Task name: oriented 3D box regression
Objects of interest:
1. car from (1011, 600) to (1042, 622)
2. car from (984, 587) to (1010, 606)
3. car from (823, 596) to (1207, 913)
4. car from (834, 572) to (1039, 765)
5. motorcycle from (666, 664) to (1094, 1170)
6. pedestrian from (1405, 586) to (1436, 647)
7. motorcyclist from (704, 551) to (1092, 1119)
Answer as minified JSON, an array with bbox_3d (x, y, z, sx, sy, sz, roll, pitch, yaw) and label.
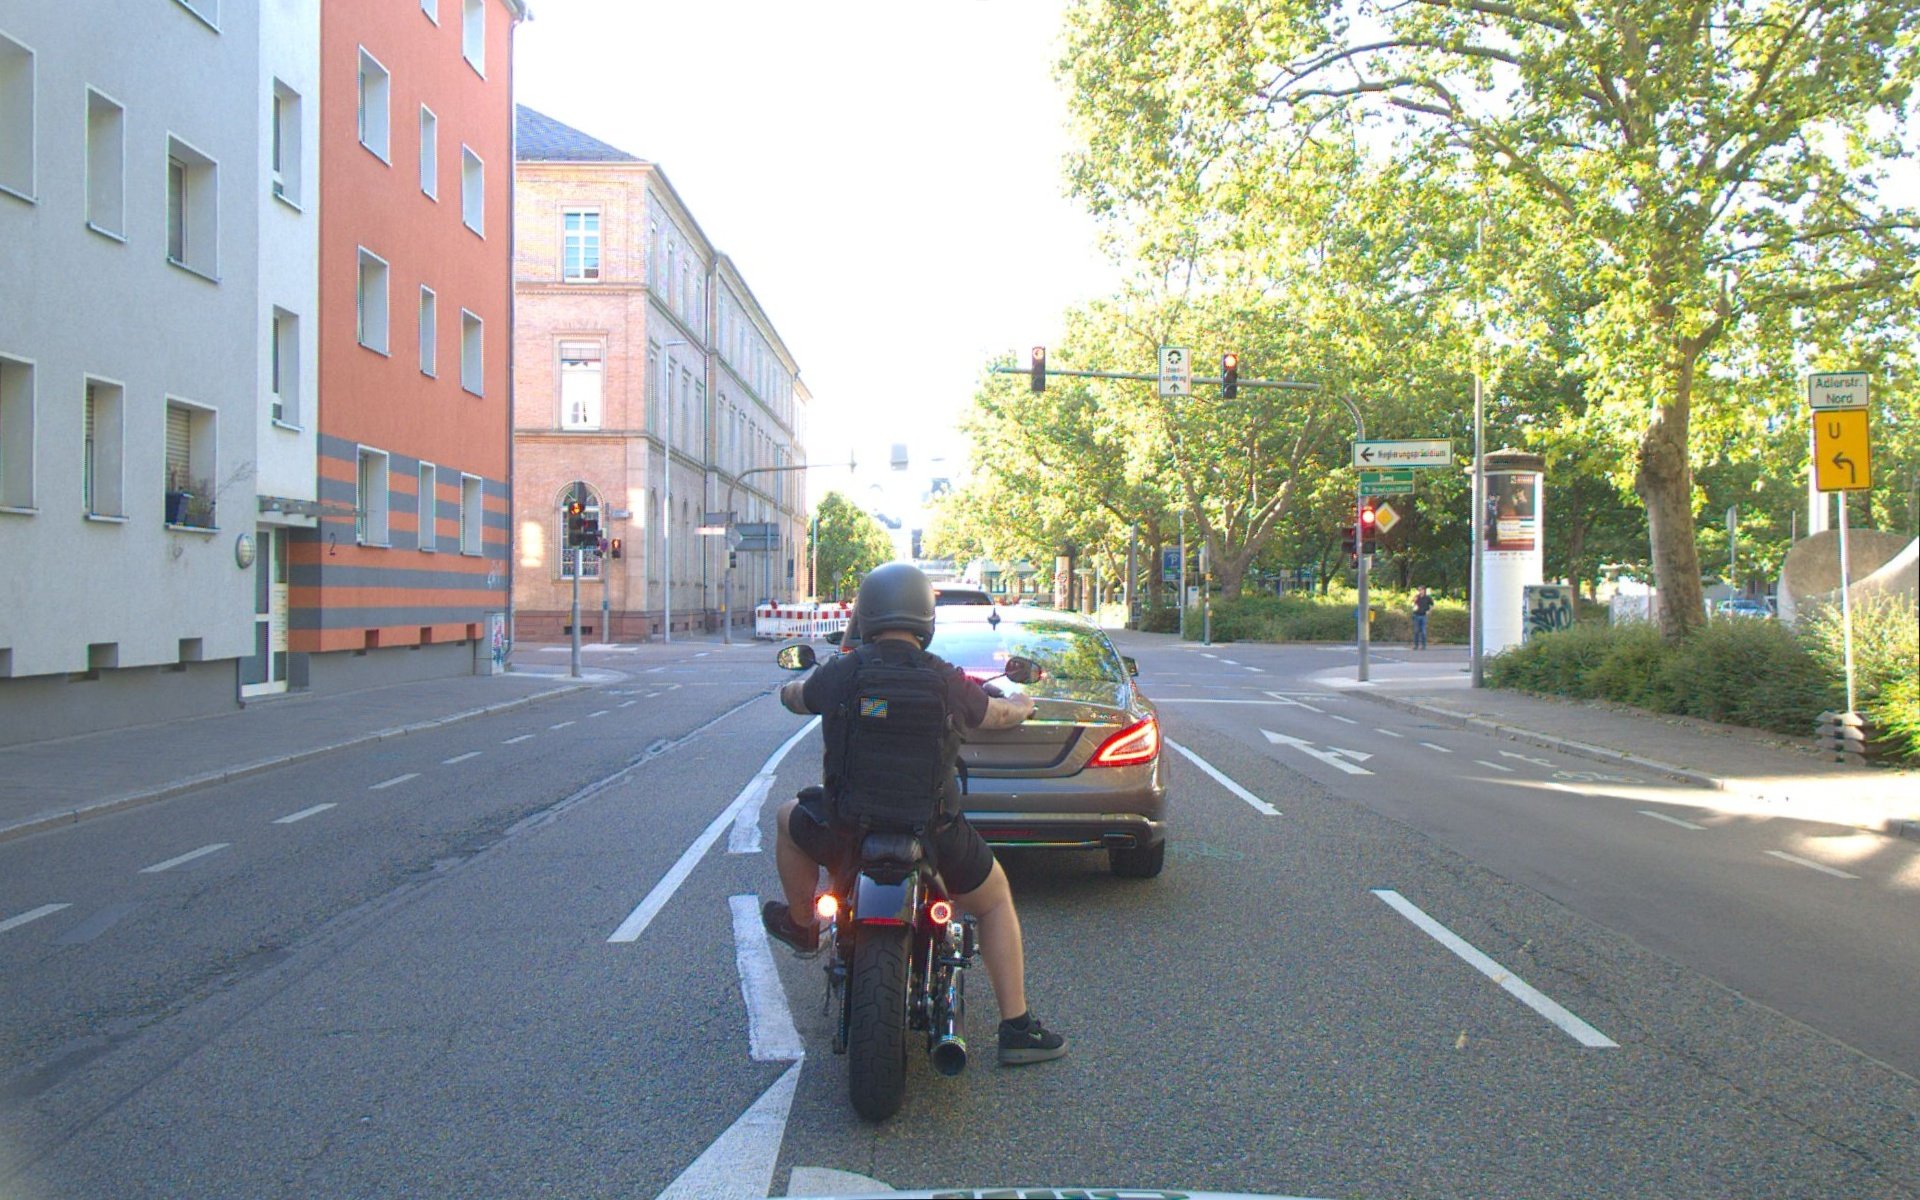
[{"bbox_3d":[3.994,0.673,99.620,1.598,1.281,3.715,1,0,-1],"label":"car"},{"bbox_3d":[2.543,-0.206,114.334,1.598,1.281,3.715,1,0,-1],"label":"car"},{"bbox_3d":[0.234,0.735,9.661,1.785,1.462,3.805,1,0,-1],"label":"car"},{"bbox_3d":[-0.239,0.626,16.933,1.825,1.707,3.999,1,0,-1],"label":"car"},{"bbox_3d":[-0.128,0.876,5.489,1.094,1.228,2.213,1,0,5],"label":"motorcycle"},{"bbox_3d":[13.827,0.490,49.630,0.722,1.809,0.728,1,-1,29],"label":"pedestrian"},{"bbox_3d":[-0.141,0.665,5.269,1.076,1.593,1.072,1,0,5],"label":"motorcyclist"}]
